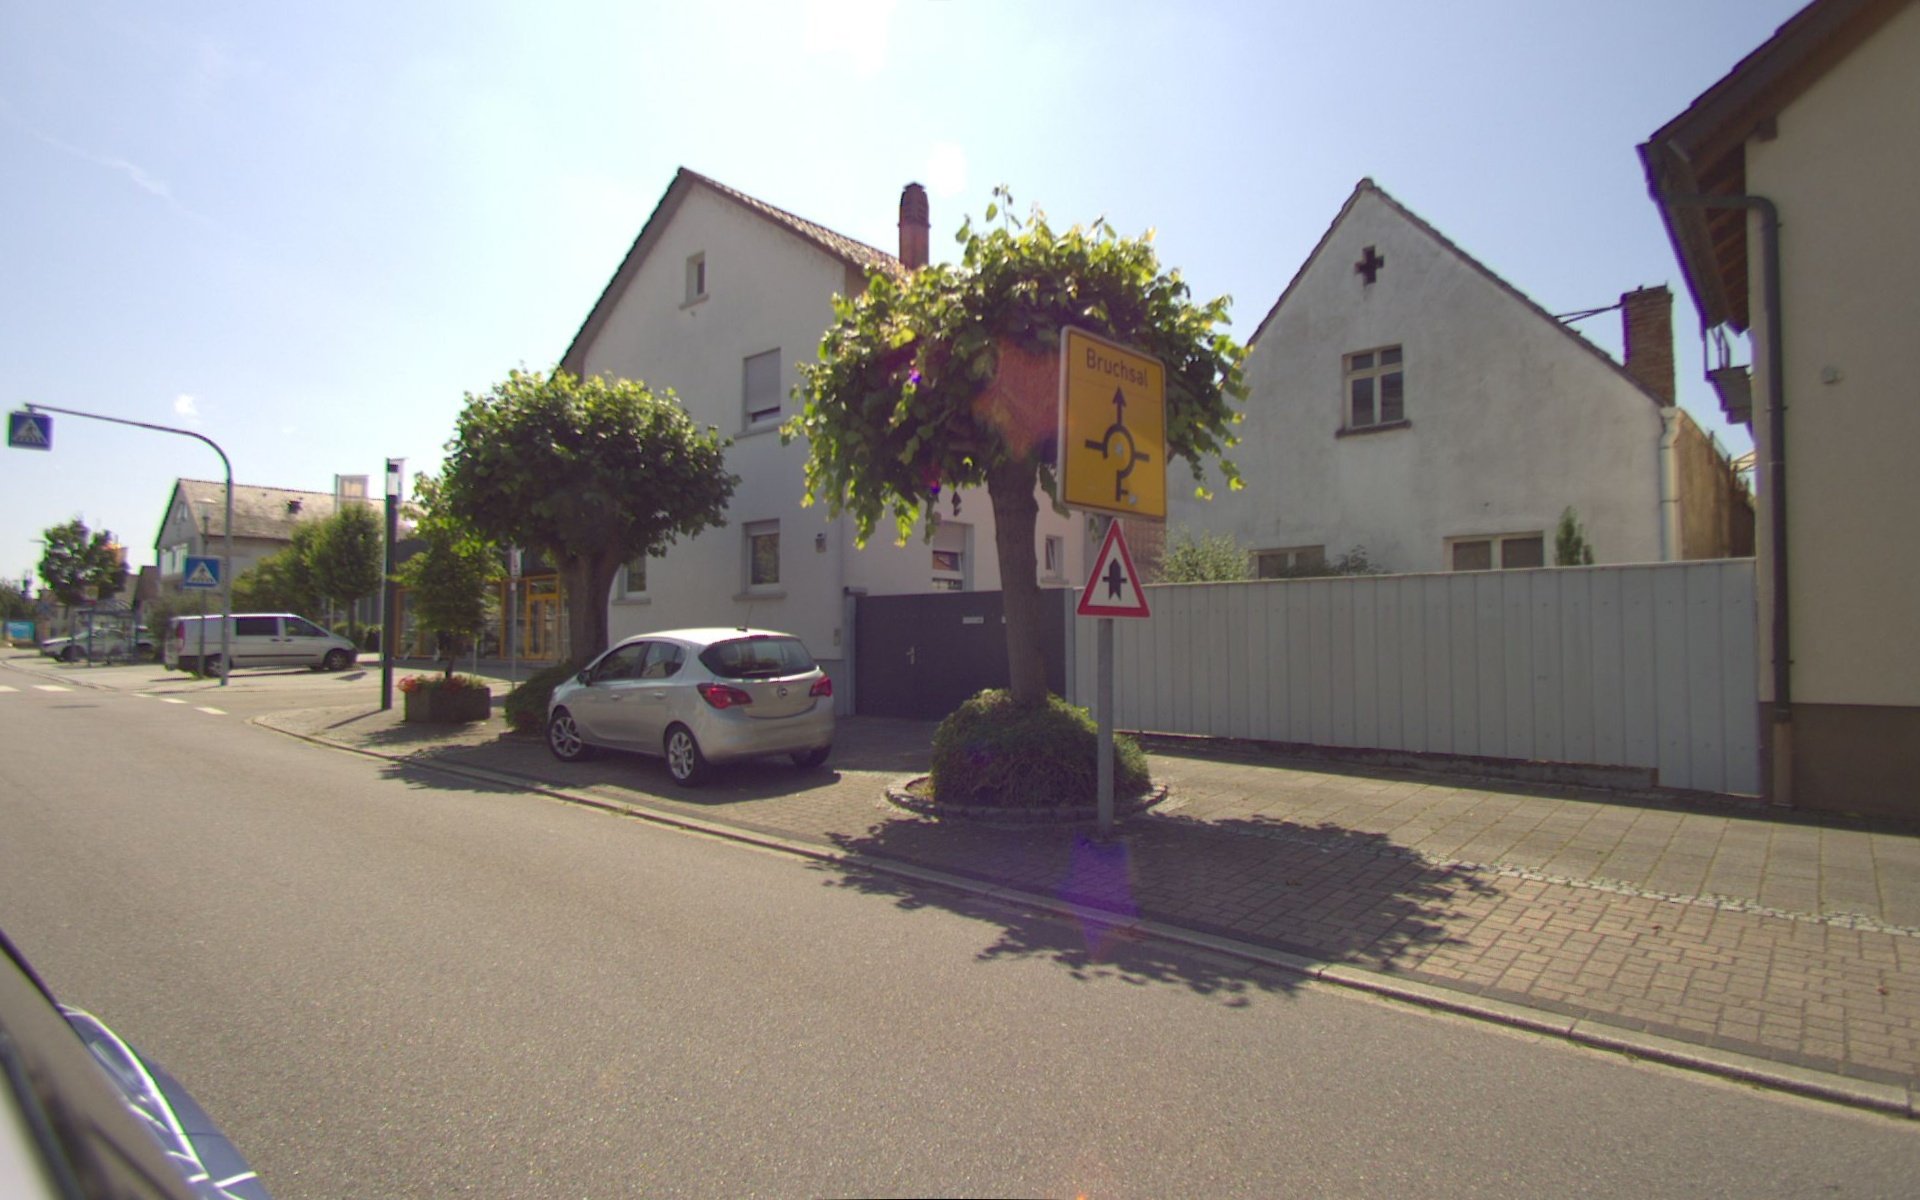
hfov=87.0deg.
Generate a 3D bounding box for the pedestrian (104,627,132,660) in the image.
[{"bbox_3d":[-34.950,1.804,42.006,0.607,1.368,0.776,-1,-2,42],"label":"pedestrian"}]

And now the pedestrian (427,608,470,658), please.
[{"bbox_3d":[-18.456,1.181,36.538,0.922,1.788,1.069,0,-2,5],"label":"pedestrian"}]

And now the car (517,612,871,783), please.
[{"bbox_3d":[-3.043,0.906,11.111,4.131,1.494,1.805,-1,0,42],"label":"car"}]

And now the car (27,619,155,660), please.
[{"bbox_3d":[-40.540,1.801,47.303,1.942,1.732,4.201,-1,0,36],"label":"car"}]

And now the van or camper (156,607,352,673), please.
[{"bbox_3d":[-21.998,1.196,31.693,1.999,1.877,4.691,-2,-1,41],"label":"van or camper"}]
